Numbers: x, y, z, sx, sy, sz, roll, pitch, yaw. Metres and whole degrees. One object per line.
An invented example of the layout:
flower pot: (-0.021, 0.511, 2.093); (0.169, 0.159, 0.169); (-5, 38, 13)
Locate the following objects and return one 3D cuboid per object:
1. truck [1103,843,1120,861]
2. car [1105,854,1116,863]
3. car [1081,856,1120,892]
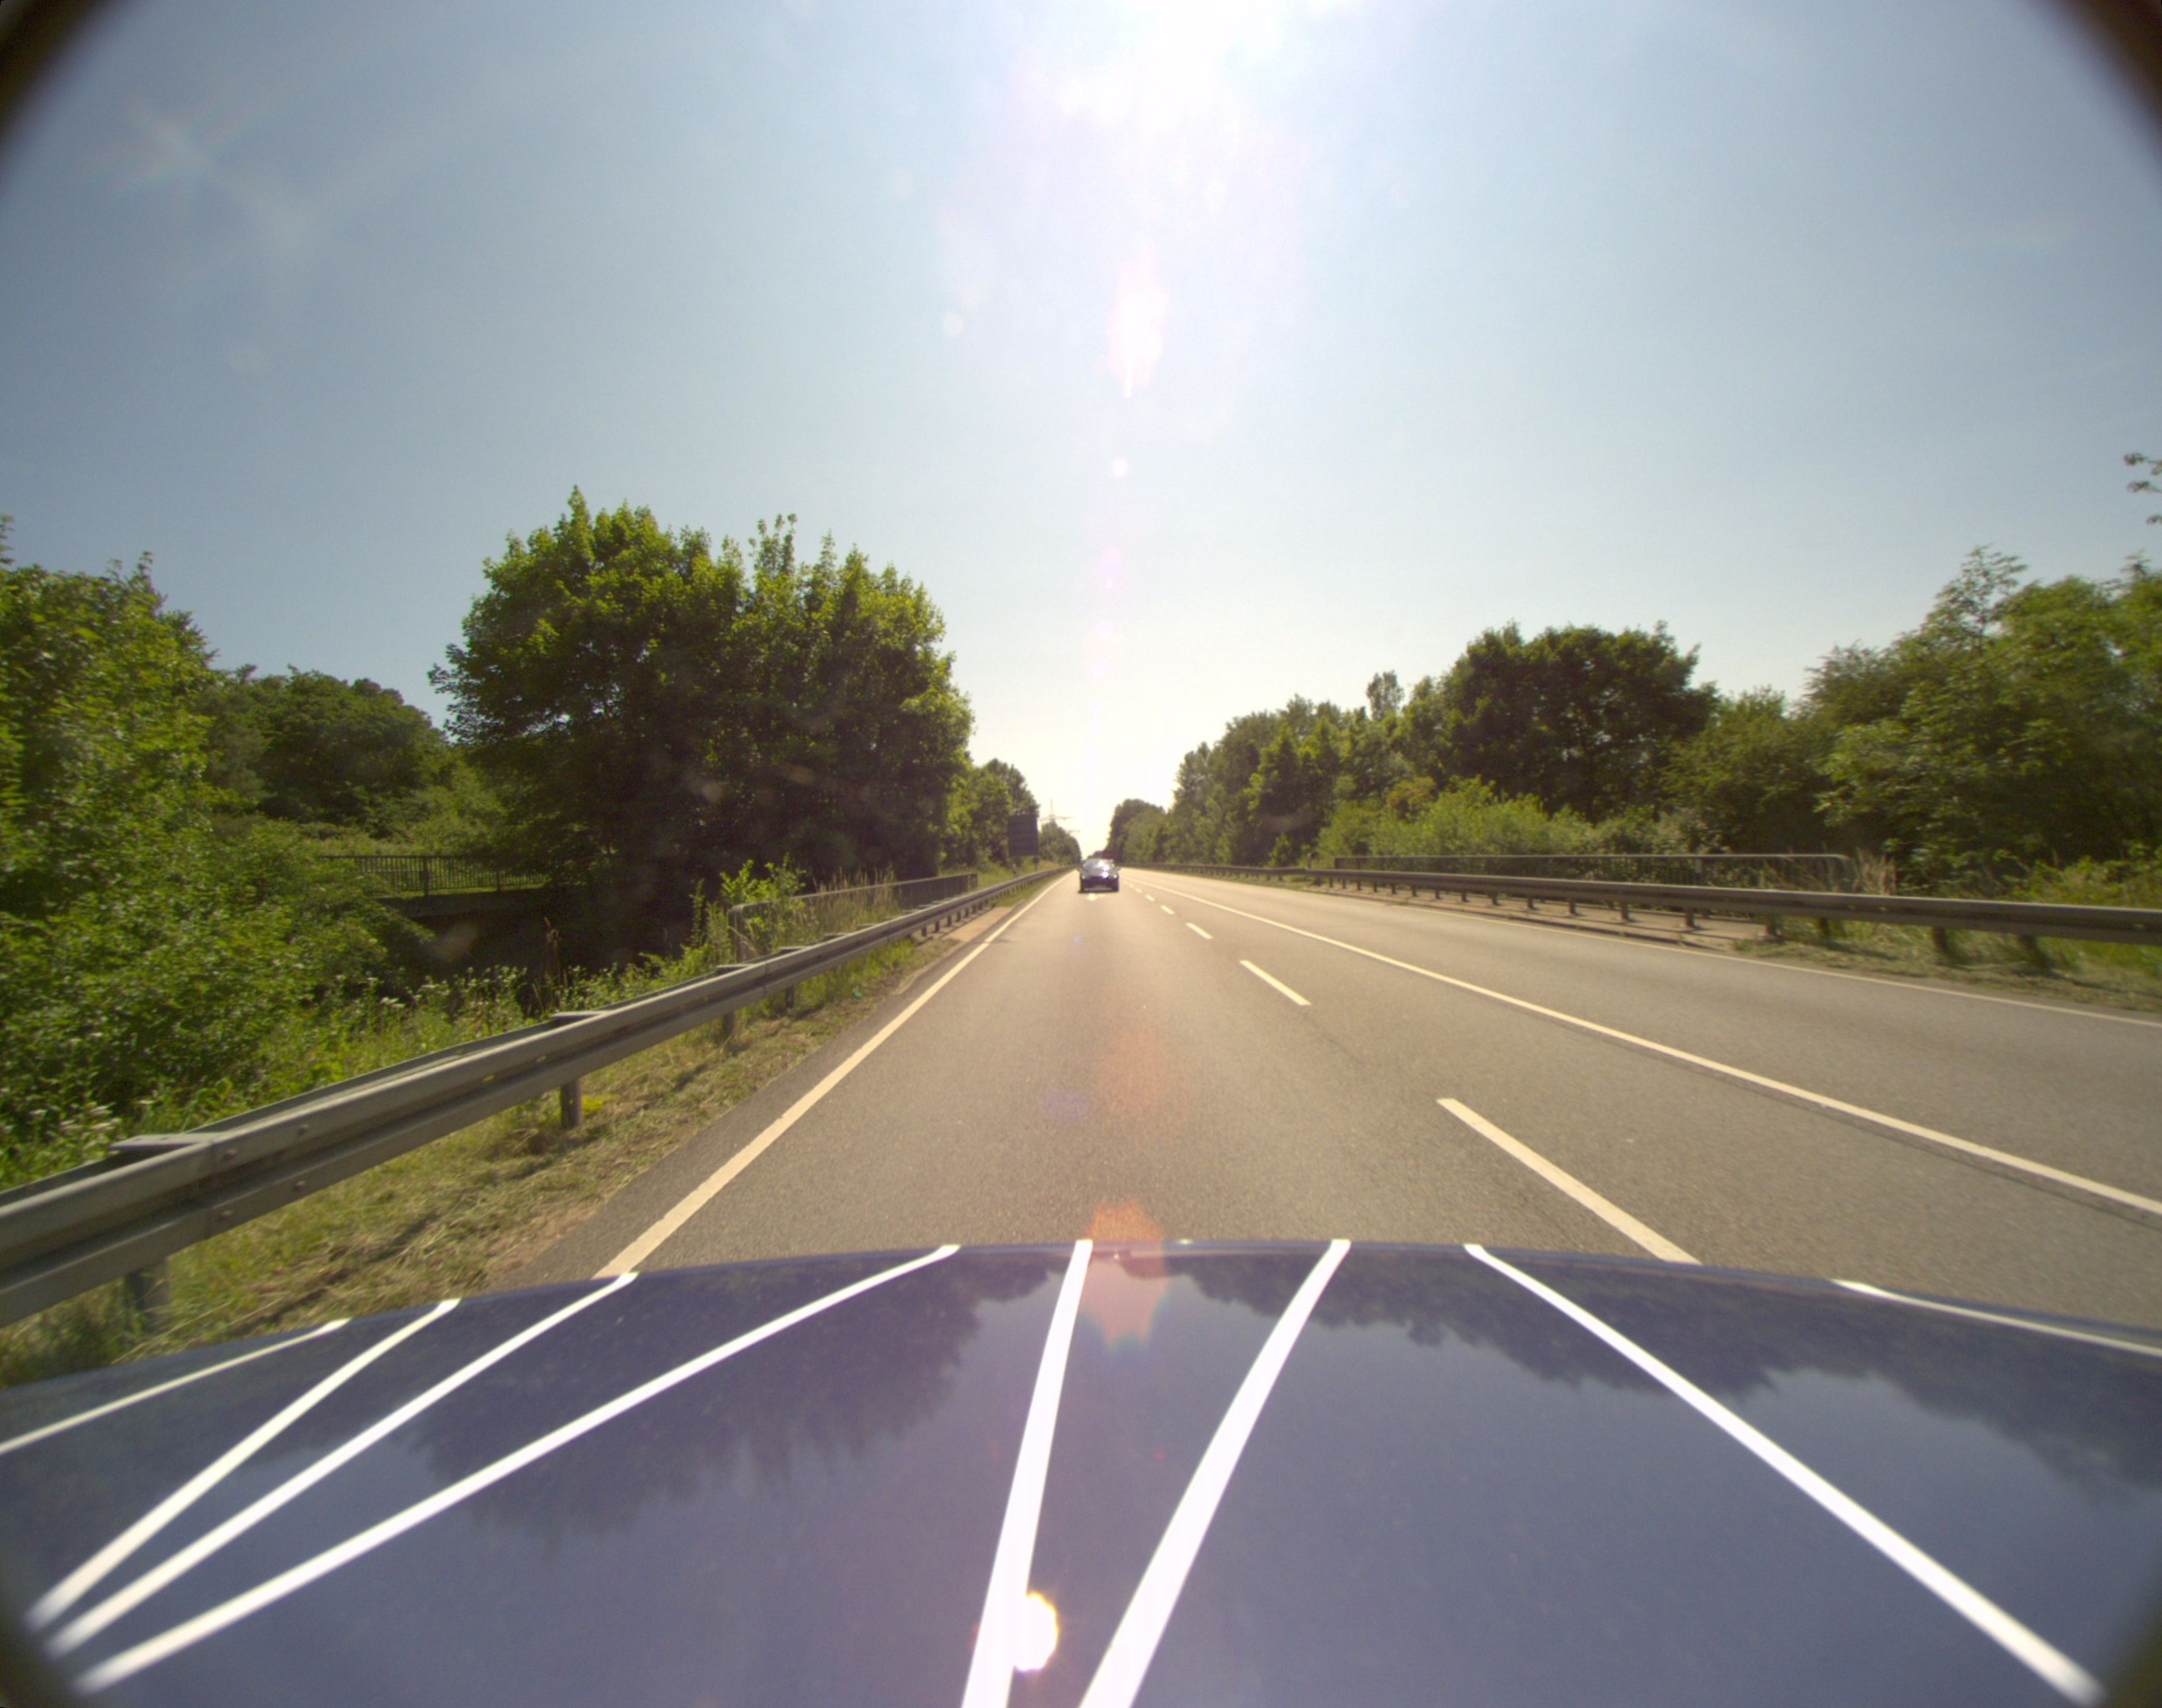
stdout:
truck: (6.594, -0.336, 163.977); (3.200, 3.678, 9.006); (-2, 0, 0)
car: (5.395, 0.867, 138.998); (1.823, 1.537, 4.526); (-2, 0, -1)
car: (0.825, 0.822, 32.964); (1.529, 1.387, 3.443); (-2, 0, 1)
